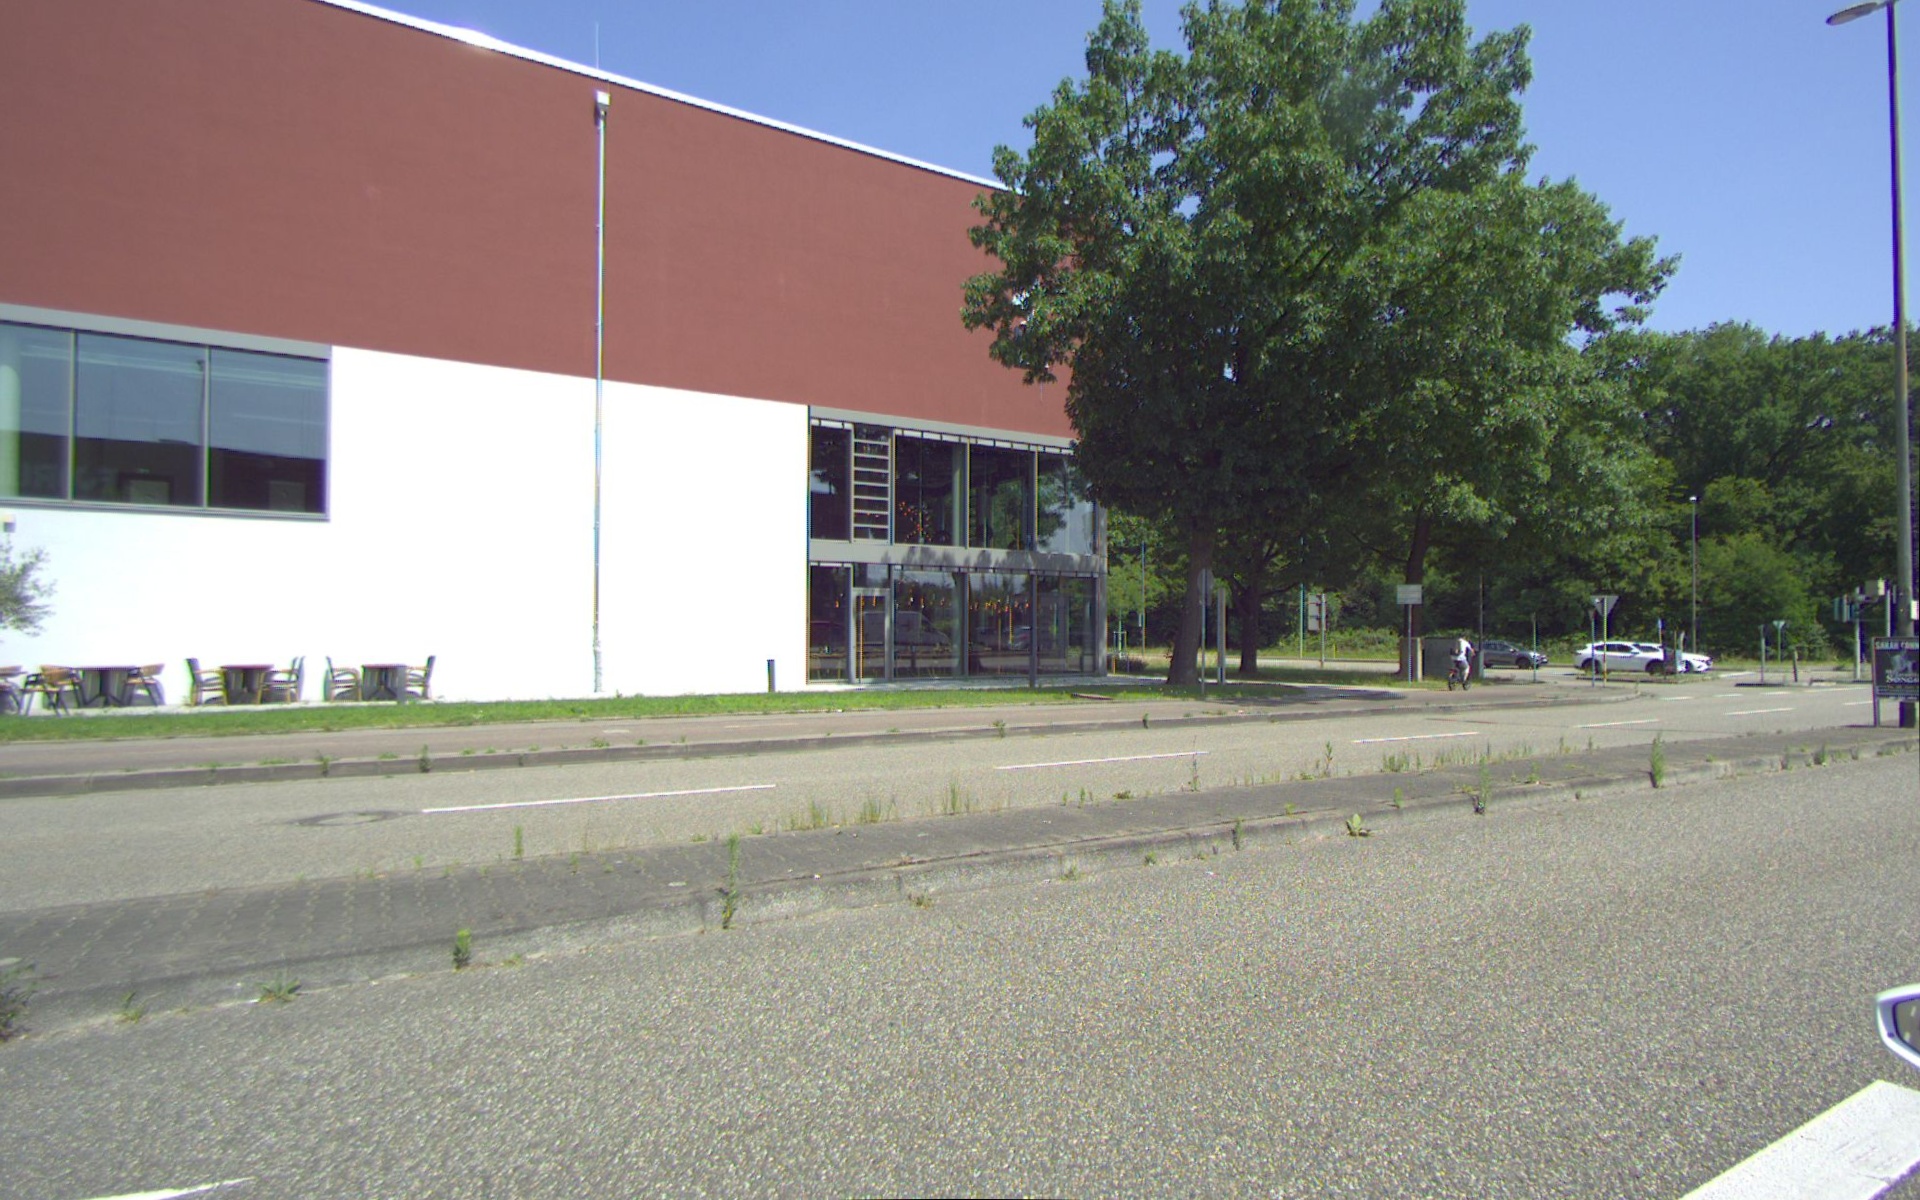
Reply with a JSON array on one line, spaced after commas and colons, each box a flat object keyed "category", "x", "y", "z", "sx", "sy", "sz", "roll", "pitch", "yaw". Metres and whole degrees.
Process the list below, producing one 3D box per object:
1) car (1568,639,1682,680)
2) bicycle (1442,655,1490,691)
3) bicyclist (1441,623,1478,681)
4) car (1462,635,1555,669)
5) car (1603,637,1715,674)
[{"category": "car", "x": 32.867, "y": 2.904, "z": 49.720, "sx": 1.794, "sy": 1.704, "sz": 4.338, "roll": 2, "pitch": 0, "yaw": -37}, {"category": "bicycle", "x": 14.872, "y": 2.125, "z": 29.489, "sx": 1.645, "sy": 0.982, "sz": 0.613, "roll": 2, "pitch": -2, "yaw": -37}, {"category": "bicyclist", "x": 14.564, "y": 1.516, "z": 29.284, "sx": 0.915, "sy": 1.652, "sz": 0.603, "roll": 1, "pitch": -2, "yaw": -37}, {"category": "car", "x": 31.643, "y": 2.980, "z": 58.065, "sx": 1.796, "sy": 1.704, "sz": 4.332, "roll": 2, "pitch": -1, "yaw": -41}, {"category": "car", "x": 36.014, "y": 2.887, "z": 51.827, "sx": 1.794, "sy": 1.703, "sz": 4.340, "roll": 2, "pitch": -6, "yaw": -37}]
